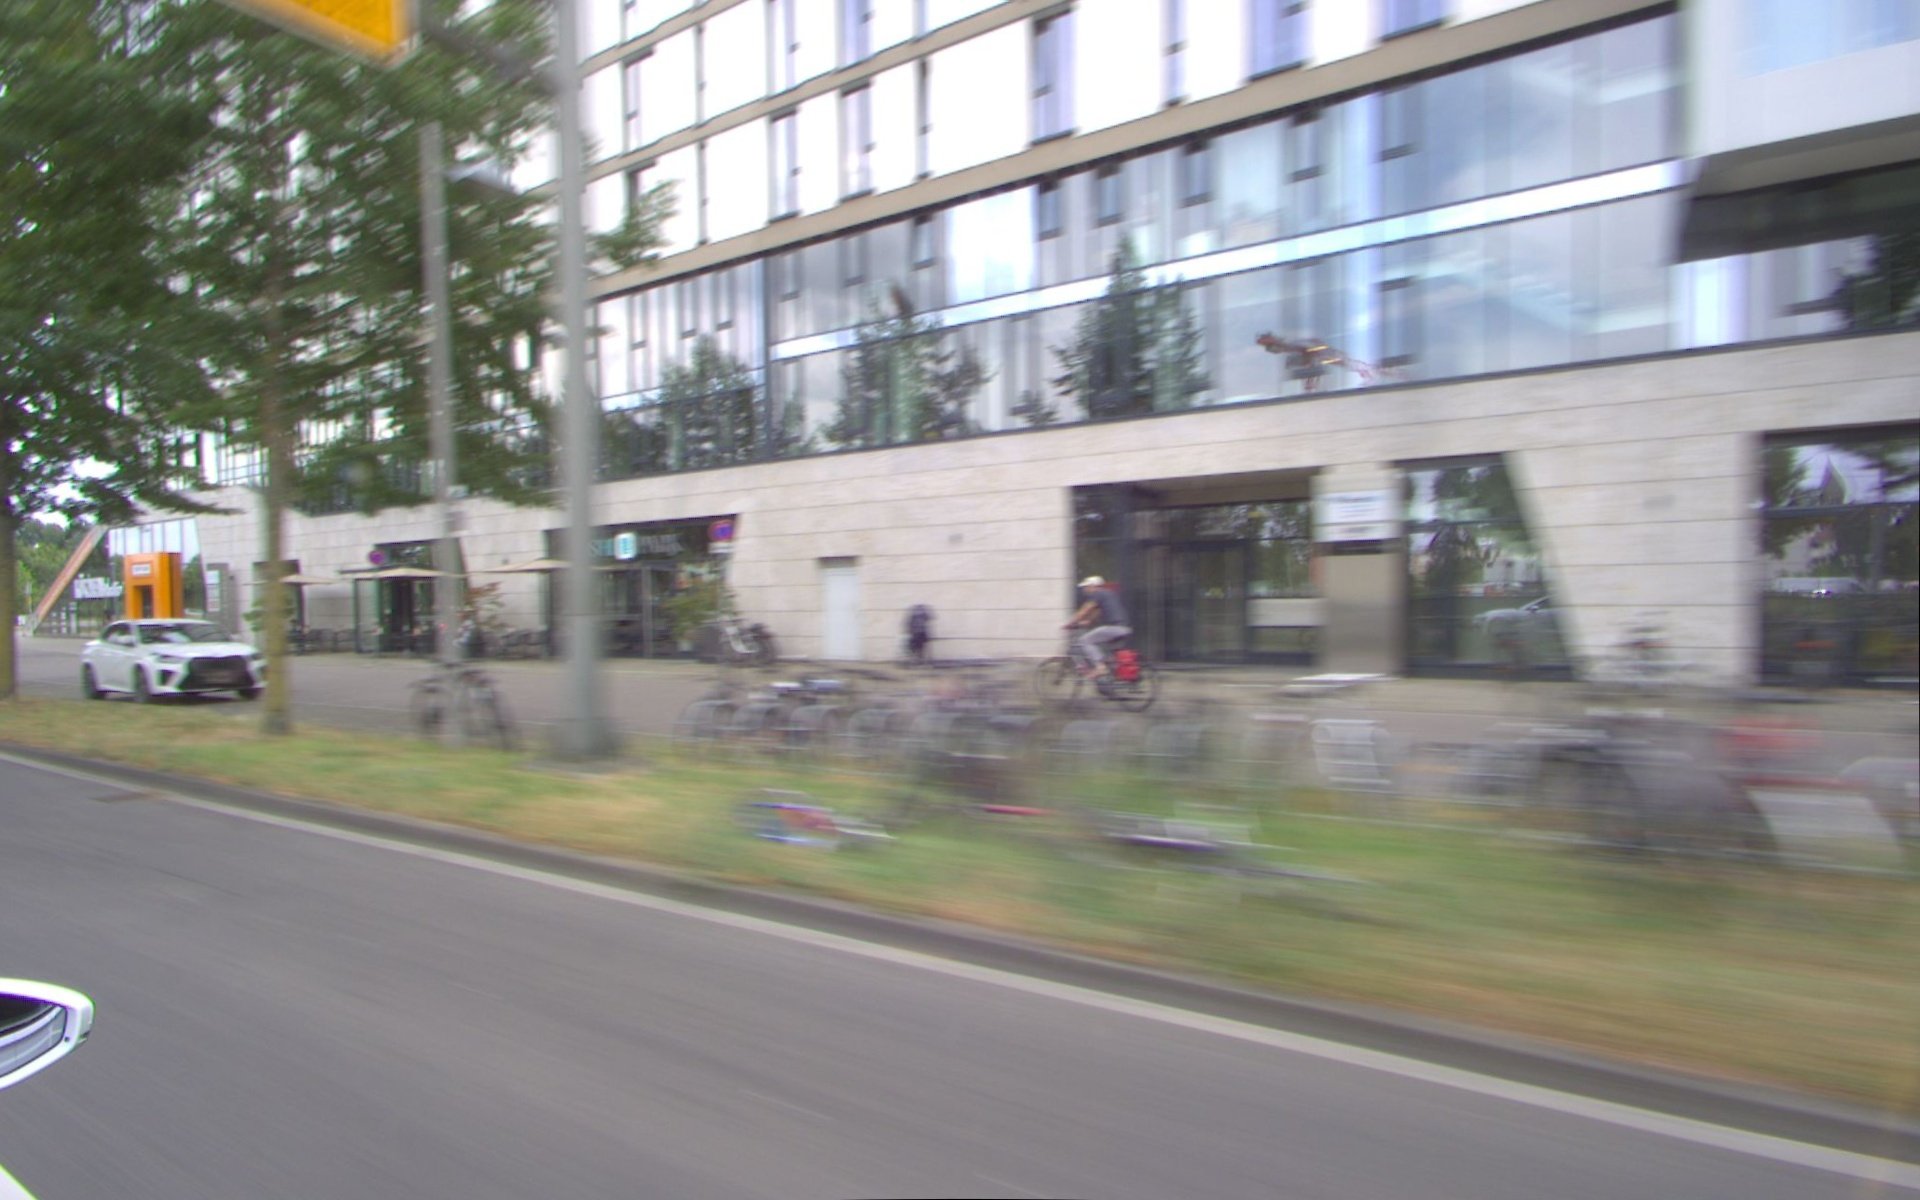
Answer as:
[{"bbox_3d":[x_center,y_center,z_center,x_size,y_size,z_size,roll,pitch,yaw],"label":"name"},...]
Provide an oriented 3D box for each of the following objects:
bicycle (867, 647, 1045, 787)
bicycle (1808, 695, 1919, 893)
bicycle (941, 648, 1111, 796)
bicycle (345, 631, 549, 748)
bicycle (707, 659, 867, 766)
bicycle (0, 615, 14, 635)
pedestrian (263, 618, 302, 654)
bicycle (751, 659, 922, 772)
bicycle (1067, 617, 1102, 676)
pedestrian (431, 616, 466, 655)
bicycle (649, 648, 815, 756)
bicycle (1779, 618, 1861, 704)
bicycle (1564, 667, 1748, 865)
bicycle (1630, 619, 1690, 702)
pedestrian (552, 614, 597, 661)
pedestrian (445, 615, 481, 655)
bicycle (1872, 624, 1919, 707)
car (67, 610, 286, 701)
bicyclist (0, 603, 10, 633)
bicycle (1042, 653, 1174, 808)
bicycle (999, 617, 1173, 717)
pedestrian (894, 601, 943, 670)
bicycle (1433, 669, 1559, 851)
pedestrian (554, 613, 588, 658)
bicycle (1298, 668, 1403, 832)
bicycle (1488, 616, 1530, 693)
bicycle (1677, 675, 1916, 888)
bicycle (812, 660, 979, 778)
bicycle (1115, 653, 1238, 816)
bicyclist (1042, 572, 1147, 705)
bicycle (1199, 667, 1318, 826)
[{"bbox_3d":[0.025,0.976,8.841,0.694,1.078,1.929,0,-3,30],"label":"bicycle"},{"bbox_3d":[5.174,0.997,5.303,0.579,0.917,1.716,0,-3,24],"label":"bicycle"},{"bbox_3d":[0.612,0.956,8.367,0.632,1.078,1.929,0,-3,30],"label":"bicycle"},{"bbox_3d":[-5.421,0.909,10.559,2.167,1.129,0.710,0,-3,25],"label":"bicycle"},{"bbox_3d":[-1.675,1.079,10.020,0.494,0.963,1.860,0,-3,30],"label":"bicycle"},{"bbox_3d":[-51.310,1.346,53.470,1.979,1.056,0.672,-1,0,33],"label":"bicycle"},{"bbox_3d":[-24.044,1.253,35.557,0.938,1.244,0.894,0,1,38],"label":"pedestrian"},{"bbox_3d":[-1.134,1.063,9.652,0.643,0.963,1.860,0,-3,30],"label":"bicycle"},{"bbox_3d":[2.387,0.876,19.315,0.599,1.040,1.602,-1,1,6],"label":"bicycle"},{"bbox_3d":[-16.196,1.119,31.715,0.748,1.208,0.717,0,1,32],"label":"pedestrian"},{"bbox_3d":[-2.310,1.022,10.403,0.565,1.007,1.860,0,-3,30],"label":"bicycle"},{"bbox_3d":[11.350,0.778,13.250,0.525,1.040,1.527,-1,0,29],"label":"bicycle"},{"bbox_3d":[4.111,0.911,6.038,0.599,0.986,1.745,0,-3,24],"label":"bicycle"},{"bbox_3d":[9.724,0.807,13.950,0.525,1.040,1.595,-1,1,29],"label":"bicycle"},{"bbox_3d":[-10.305,0.980,26.781,0.767,1.208,1.096,-1,1,-42],"label":"pedestrian"},{"bbox_3d":[-15.501,1.093,31.245,0.748,1.208,0.716,0,1,34],"label":"pedestrian"},{"bbox_3d":[12.148,0.811,12.693,0.525,0.966,1.527,-1,0,29],"label":"bicycle"},{"bbox_3d":[-15.257,0.998,19.444,4.528,1.572,1.934,-1,0,32],"label":"car"},{"bbox_3d":[-51.457,0.961,53.546,0.976,1.603,0.723,0,0,33],"label":"bicyclist"},{"bbox_3d":[1.238,0.973,8.011,0.535,1.078,1.932,0,-3,24],"label":"bicycle"},{"bbox_3d":[1.765,0.903,14.125,2.235,1.252,0.899,-1,3,32],"label":"bicycle"},{"bbox_3d":[-0.889,0.737,21.342,0.712,1.425,0.753,0,1,40],"label":"pedestrian"},{"bbox_3d":[3.418,0.953,6.491,0.599,0.986,1.745,0,-3,24],"label":"bicycle"},{"bbox_3d":[-10.878,0.987,28.022,0.712,1.208,0.754,-1,1,-35],"label":"pedestrian"},{"bbox_3d":[2.791,0.980,7.061,0.599,0.986,1.745,0,-3,24],"label":"bicycle"},{"bbox_3d":[8.185,0.788,14.917,0.525,1.040,1.595,-1,1,29],"label":"bicycle"},{"bbox_3d":[4.665,0.937,5.716,0.599,0.986,1.716,0,-3,24],"label":"bicycle"},{"bbox_3d":[-0.541,1.044,9.223,0.603,0.963,1.860,0,-3,30],"label":"bicycle"},{"bbox_3d":[1.710,0.961,7.689,0.535,1.078,1.932,0,-3,24],"label":"bicycle"},{"bbox_3d":[1.900,0.514,14.083,1.113,1.761,0.994,0,3,32],"label":"bicyclist"},{"bbox_3d":[2.212,0.990,7.291,0.599,0.986,1.745,0,-3,24],"label":"bicycle"}]
